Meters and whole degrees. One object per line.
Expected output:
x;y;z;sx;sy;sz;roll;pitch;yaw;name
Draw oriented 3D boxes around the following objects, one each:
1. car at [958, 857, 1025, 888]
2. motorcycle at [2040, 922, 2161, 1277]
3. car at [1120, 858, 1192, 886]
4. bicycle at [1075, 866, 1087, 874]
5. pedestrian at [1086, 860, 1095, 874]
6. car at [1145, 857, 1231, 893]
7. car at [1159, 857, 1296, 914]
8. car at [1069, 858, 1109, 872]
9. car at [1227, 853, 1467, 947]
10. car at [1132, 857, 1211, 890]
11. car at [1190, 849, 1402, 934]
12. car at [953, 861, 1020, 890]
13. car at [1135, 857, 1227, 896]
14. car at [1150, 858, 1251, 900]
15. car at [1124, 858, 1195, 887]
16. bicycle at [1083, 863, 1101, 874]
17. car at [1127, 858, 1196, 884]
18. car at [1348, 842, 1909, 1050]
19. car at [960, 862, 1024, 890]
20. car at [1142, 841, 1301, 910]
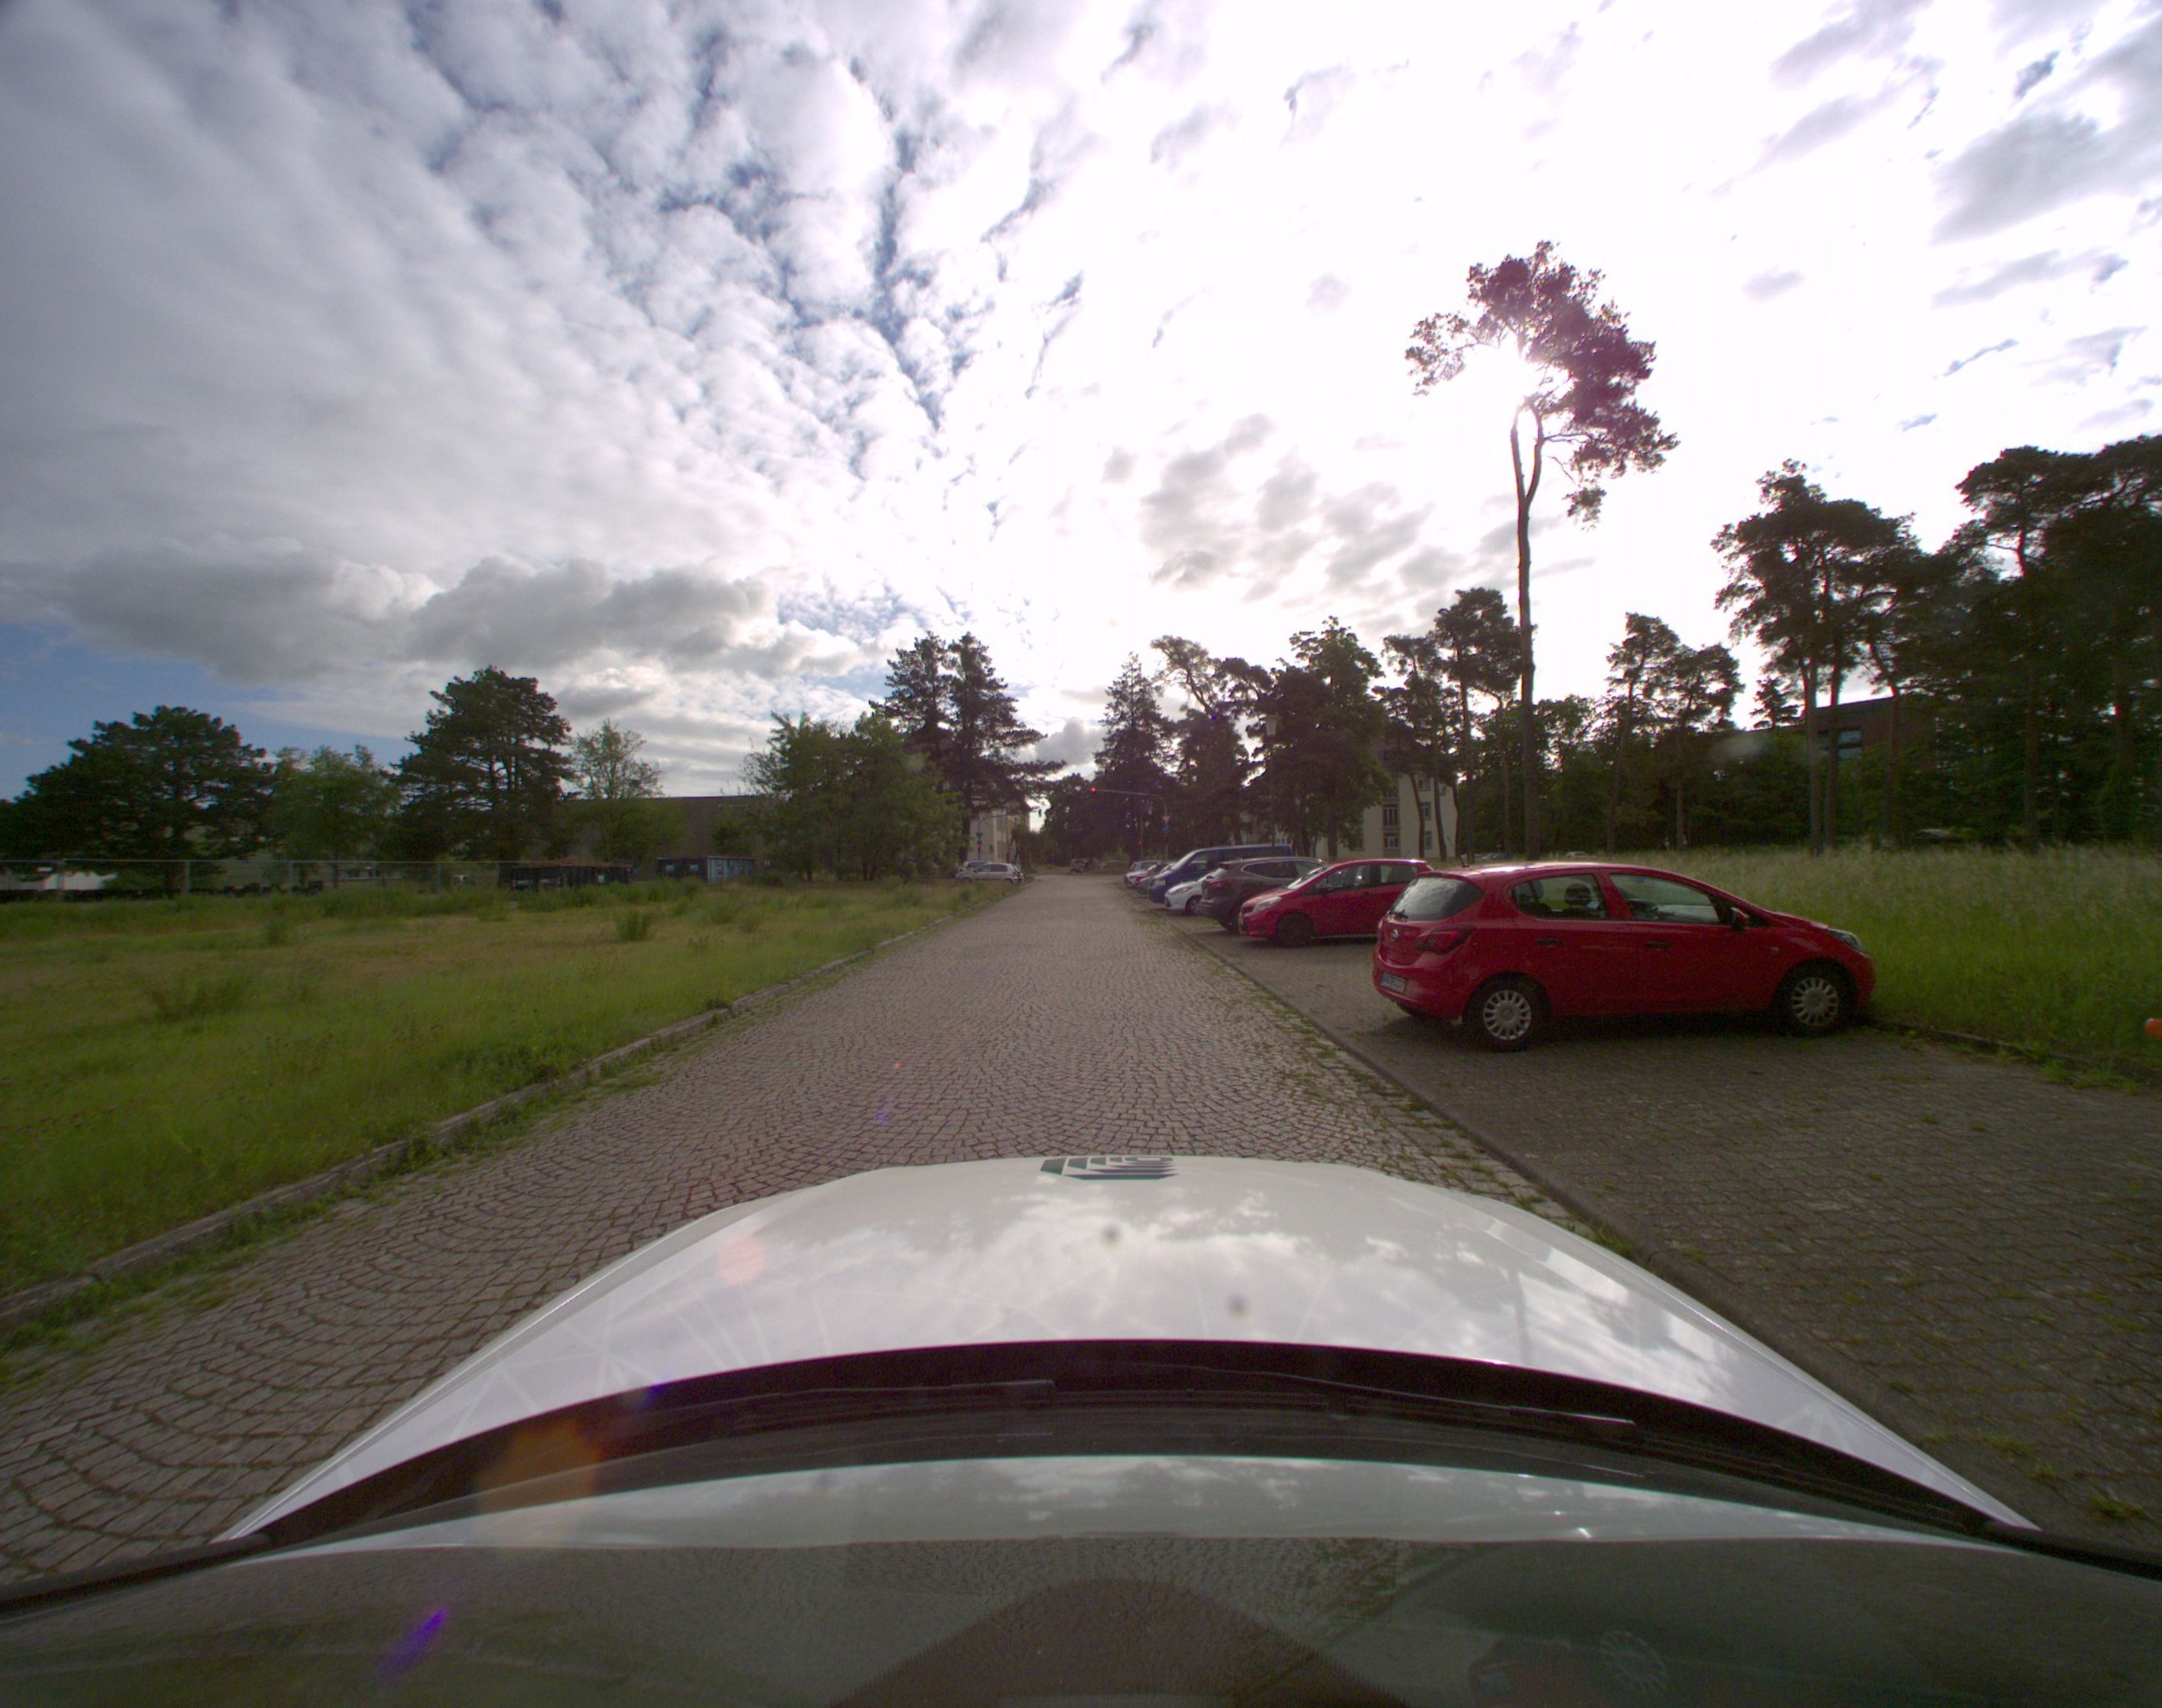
-5.965;1.242;54.520;4.250;1.840;1.743;-2;-1;-1;car
4.879;0.830;2.795;2.322;1.186;0.794;-2;-1;-3;motorcycle
4.369;1.055;47.647;3.961;1.421;1.617;-2;-1;-5;car
0.003;1.838;95.095;0.623;0.945;1.648;0;-1;-28;bicycle
1.106;1.572;99.522;1.032;1.614;0.756;0;-1;-5;pedestrian
4.906;0.957;37.556;3.662;1.449;1.522;-2;-1;-2;car
4.237;0.911;23.913;3.663;1.449;1.613;-2;-1;-3;car
1.089;1.539;117.087;5.445;2.014;2.261;0;-1;-10;car
4.731;0.805;14.884;3.780;1.460;1.750;-2;-1;-1;car
4.430;0.972;40.257;3.662;1.449;1.522;-2;-1;-2;car
4.531;0.776;17.542;4.019;1.552;1.749;-2;-1;-3;car
-5.661;1.305;49.118;3.814;1.572;1.562;-2;-1;-4;car
4.204;0.958;34.561;3.662;1.449;1.522;-2;-1;-2;car
4.625;0.954;31.786;3.662;1.449;1.522;-2;-1;-2;car
4.281;1.024;44.791;3.666;1.421;1.521;-2;-1;-5;car
1.308;1.772;99.178;2.133;1.215;0.621;0;-1;-5;bicycle
4.941;1.051;50.303;3.961;1.421;1.617;-2;-1;-5;car
4.617;0.732;7.304;3.814;1.460;1.778;-2;-1;-1;car
-5.616;1.367;51.535;3.810;1.572;1.564;-2;-1;-1;car
4.478;0.679;26.511;4.742;1.954;1.929;-2;-1;-2;car
